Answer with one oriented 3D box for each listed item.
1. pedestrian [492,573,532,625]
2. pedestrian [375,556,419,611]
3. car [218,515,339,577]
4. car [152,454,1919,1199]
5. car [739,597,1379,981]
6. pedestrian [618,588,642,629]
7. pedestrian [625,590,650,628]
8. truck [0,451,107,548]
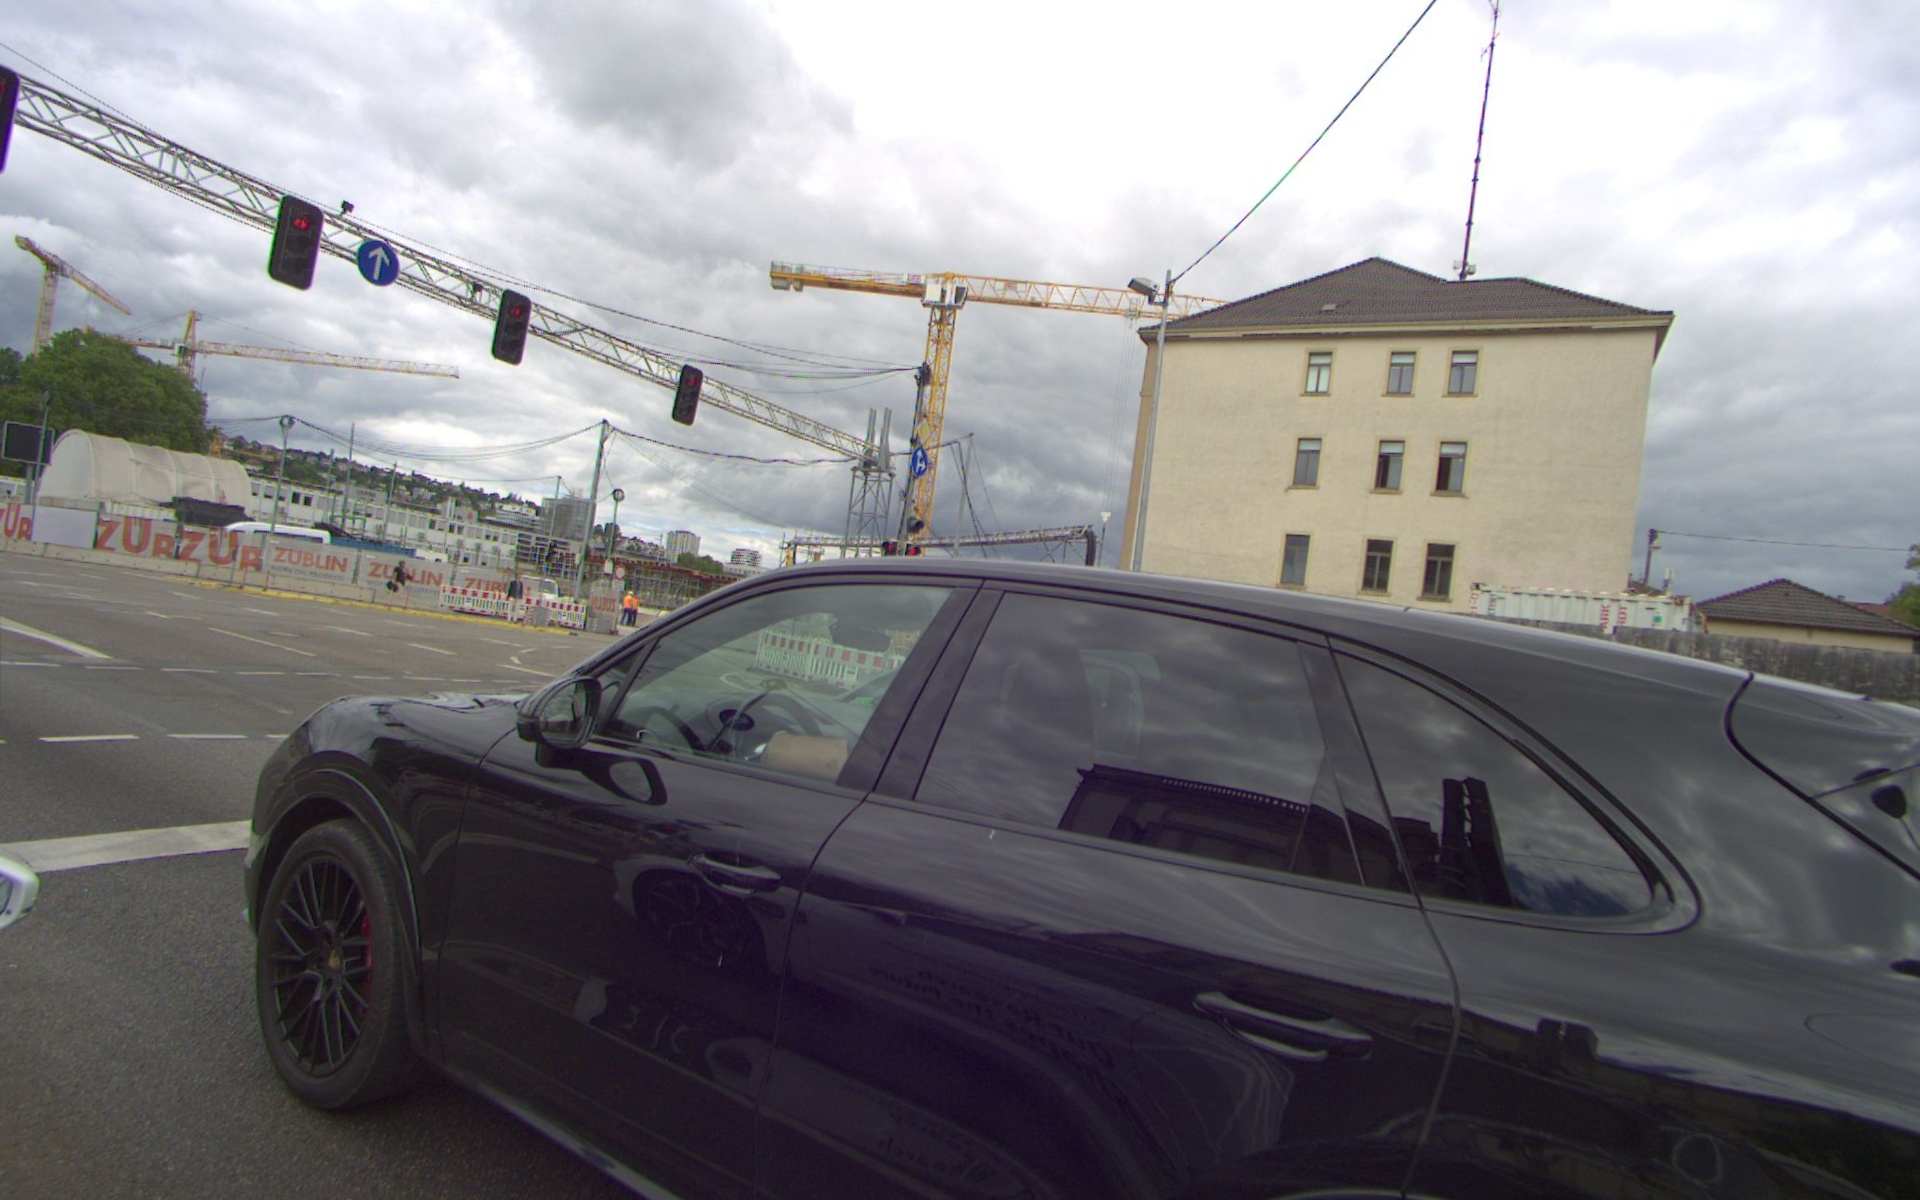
[{"bbox_3d":[-17.494,-0.044,39.251,1.040,1.869,0.781,8,-1,-42],"label":"pedestrian"},{"bbox_3d":[-22.303,-0.624,39.856,1.018,2.037,1.044,7,-1,-12],"label":"pedestrian"},{"bbox_3d":[-29.528,-2.326,43.645,3.976,2.037,1.976,9,-2,-43],"label":"car"},{"bbox_3d":[-0.003,0.684,2.719,4.505,1.687,1.997,6,-2,34],"label":"car"},{"bbox_3d":[0.578,0.993,6.555,3.587,1.527,1.825,6,-2,33],"label":"car"},{"bbox_3d":[-17.644,0.447,53.828,0.855,2.037,0.677,6,-1,44],"label":"pedestrian"},{"bbox_3d":[-17.501,0.480,54.625,0.850,1.938,0.680,7,-1,26],"label":"pedestrian"},{"bbox_3d":[-57.720,-6.339,60.224,3.054,5.017,9.759,7,-2,14],"label":"truck"}]
